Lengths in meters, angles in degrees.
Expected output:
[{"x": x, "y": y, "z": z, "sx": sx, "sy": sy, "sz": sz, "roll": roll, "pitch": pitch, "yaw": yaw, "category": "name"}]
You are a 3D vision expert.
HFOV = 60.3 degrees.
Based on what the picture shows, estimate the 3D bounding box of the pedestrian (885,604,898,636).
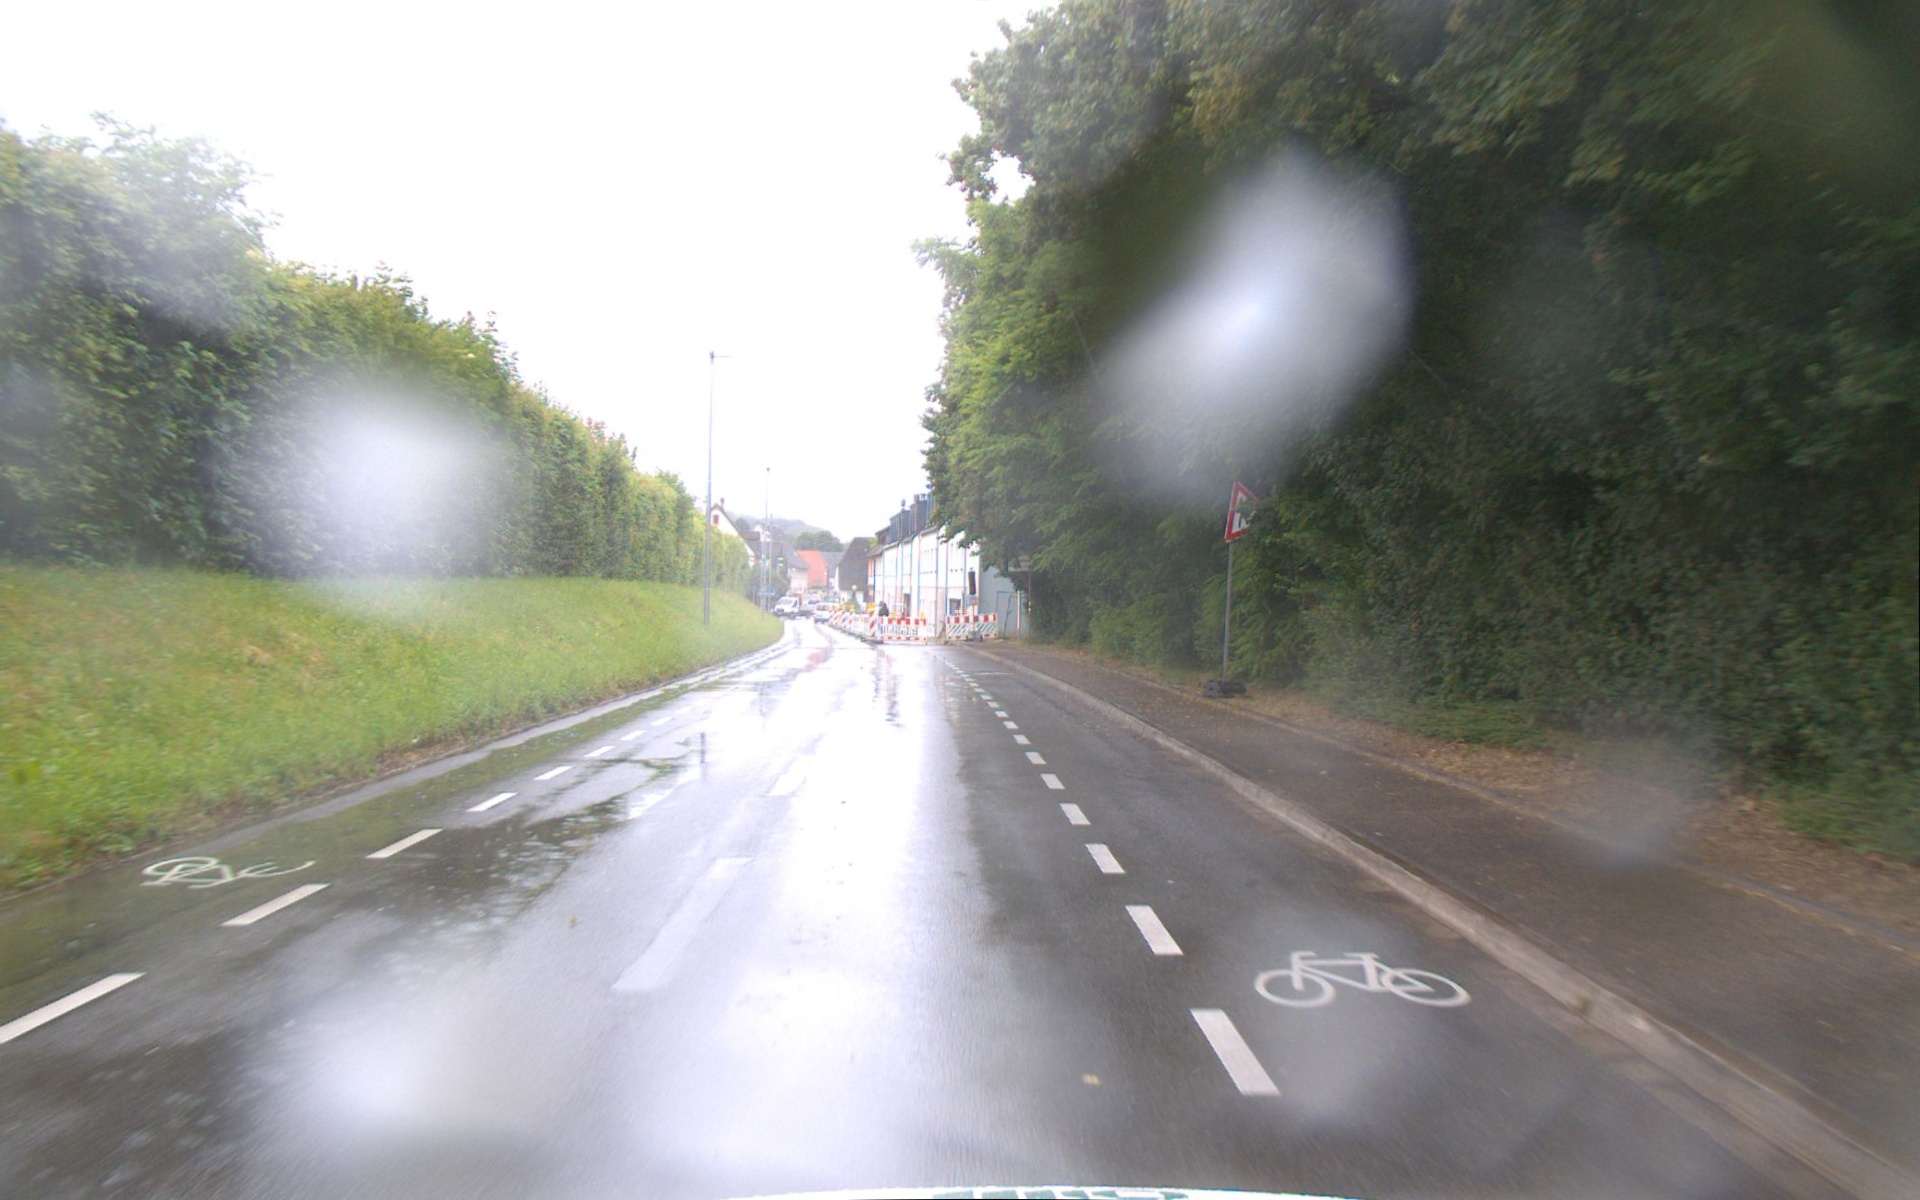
[{"x": -3.969, "y": 1.160, "z": 95.847, "sx": 0.654, "sy": 1.786, "sz": 0.809, "roll": 0, "pitch": 0, "yaw": -12, "category": "pedestrian"}]

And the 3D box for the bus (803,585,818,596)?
[{"x": -19.094, "y": -1.201, "z": 211.500, "sx": 1.759, "sy": 1.434, "sz": 3.997, "roll": 0, "pitch": 1, "yaw": -4, "category": "bus"}]

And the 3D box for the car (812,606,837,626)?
[{"x": -12.299, "y": 1.436, "z": 150.210, "sx": 1.952, "sy": 1.639, "sz": 4.000, "roll": 0, "pitch": 1, "yaw": 0, "category": "car"}]

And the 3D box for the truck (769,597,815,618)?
[{"x": -17.848, "y": 0.813, "z": 175.786, "sx": 1.964, "sy": 2.048, "sz": 4.878, "roll": 3, "pitch": 1, "yaw": 40, "category": "truck"}]
